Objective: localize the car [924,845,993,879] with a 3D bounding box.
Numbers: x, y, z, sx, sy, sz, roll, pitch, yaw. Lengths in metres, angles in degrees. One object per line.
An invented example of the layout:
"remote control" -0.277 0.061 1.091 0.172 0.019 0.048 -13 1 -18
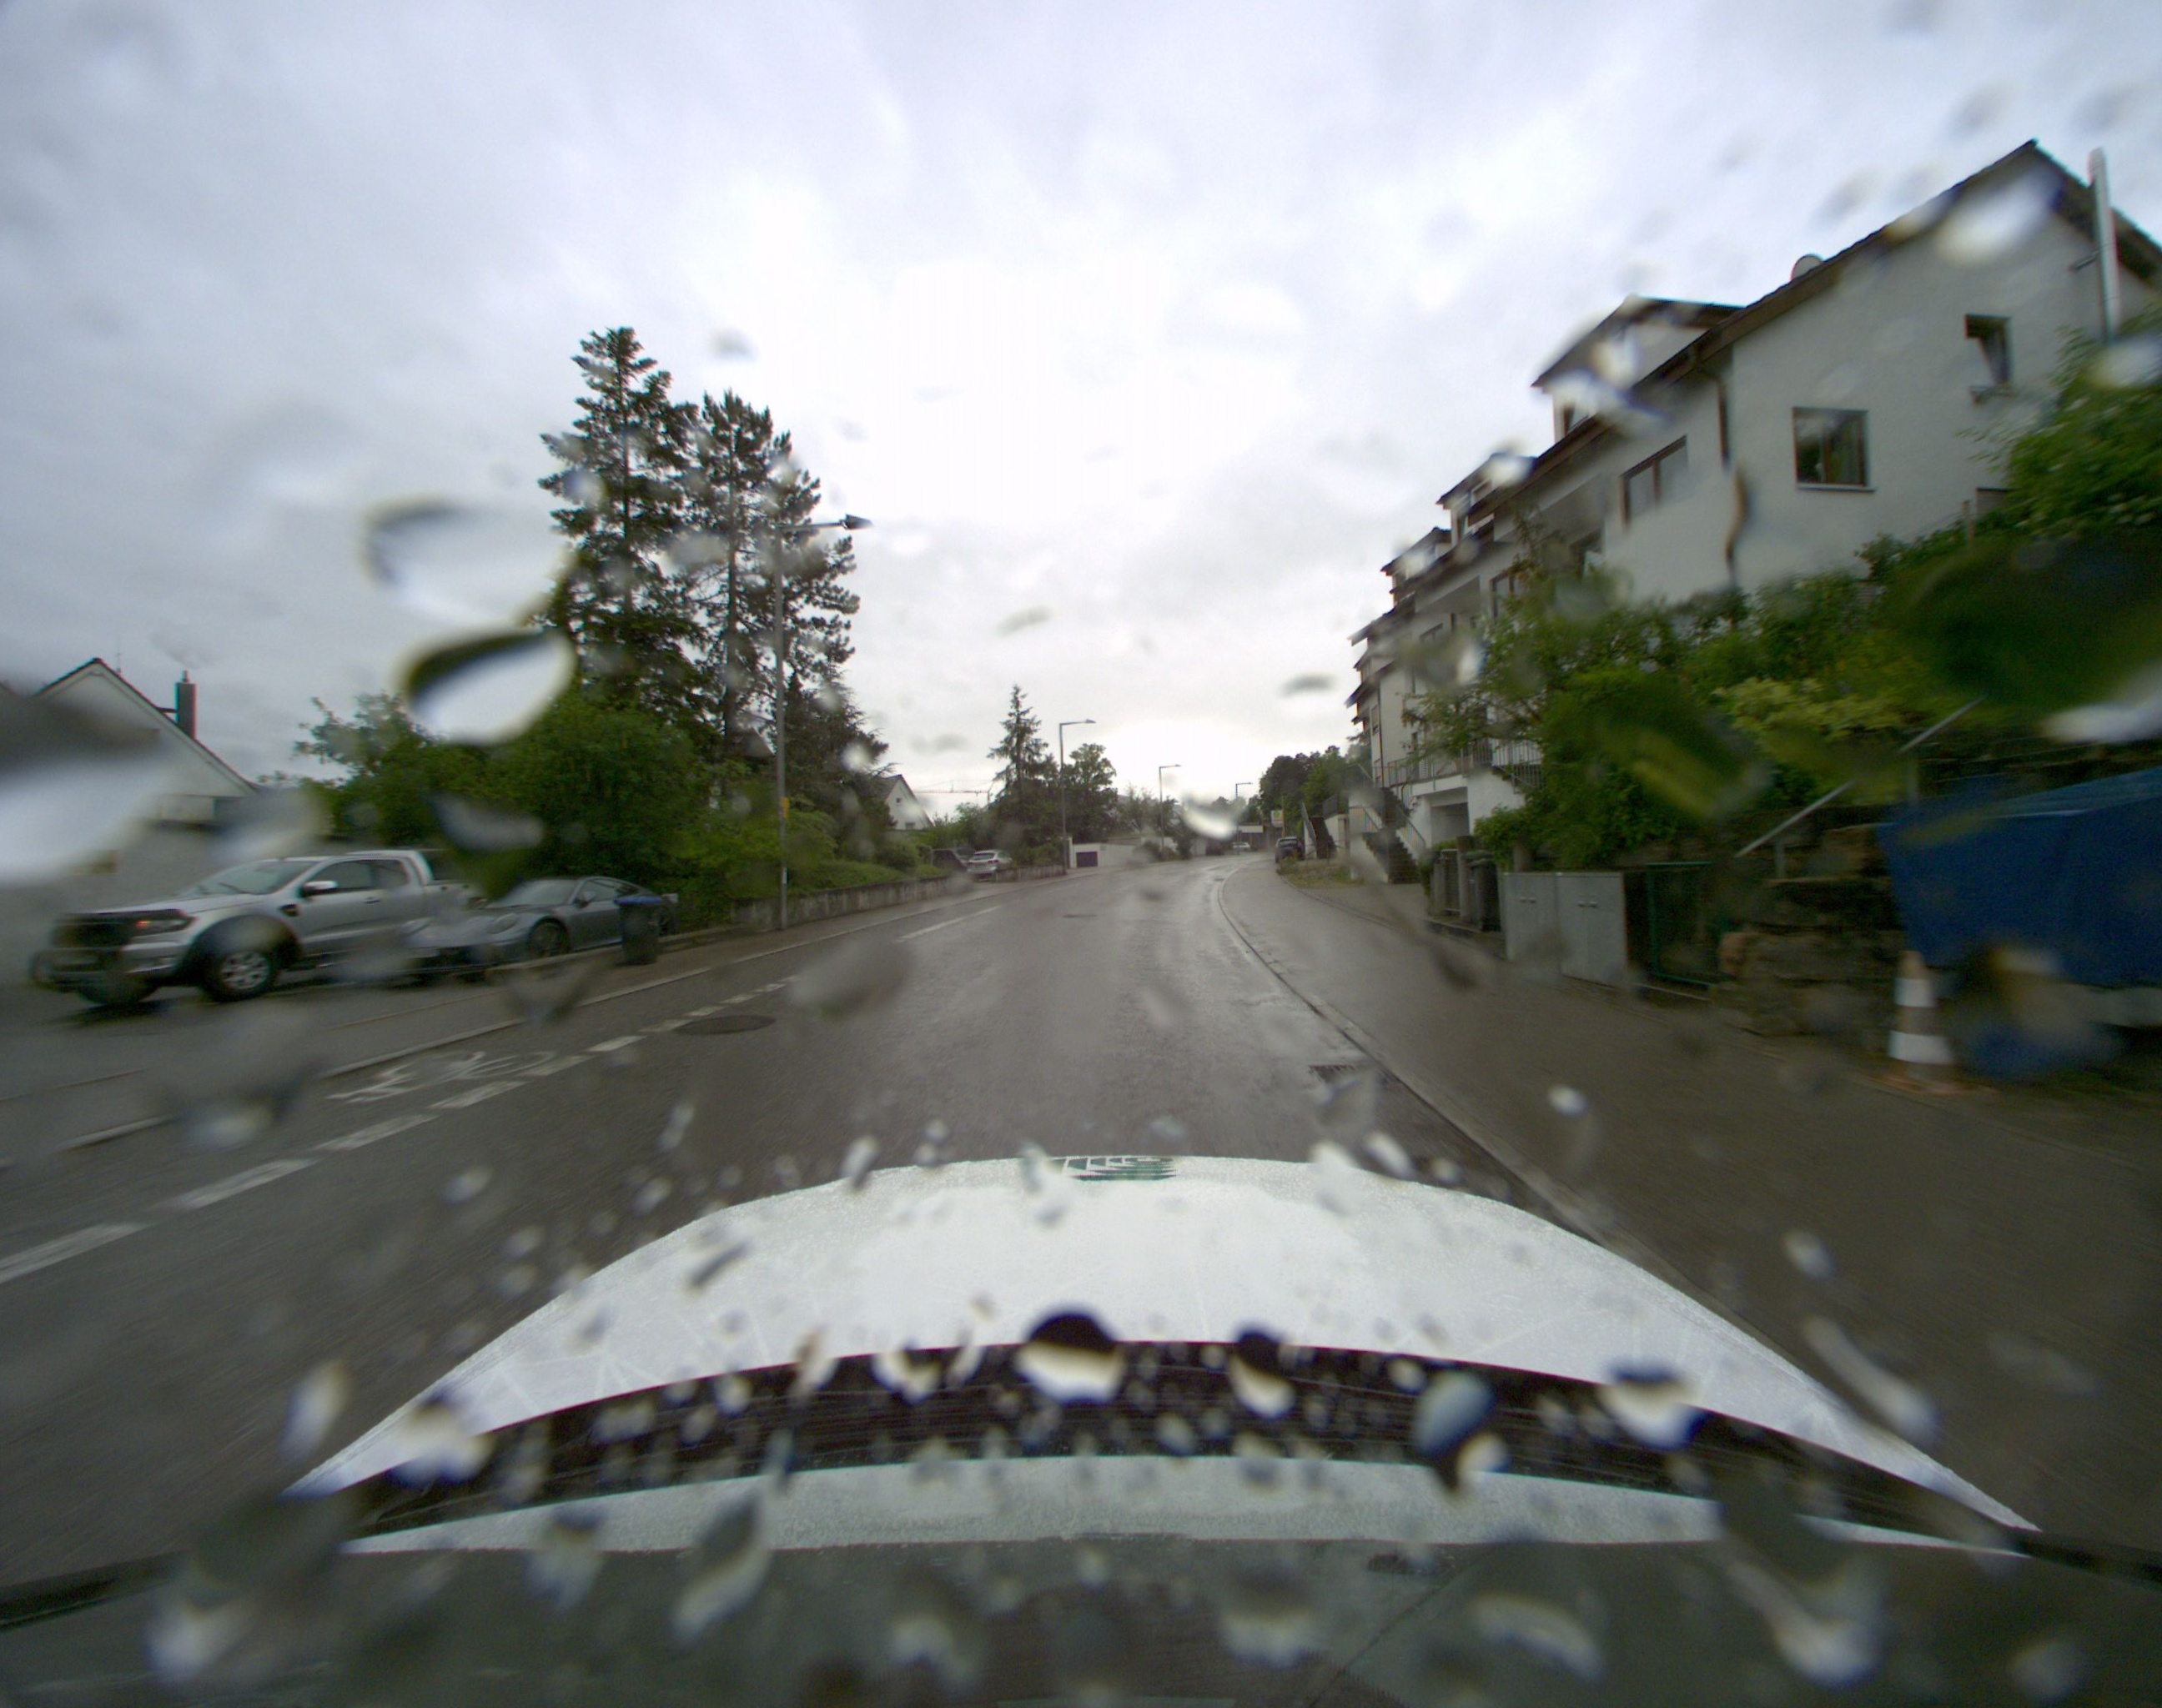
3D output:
"car" -7.172 0.496 47.548 2.012 1.838 3.950 -2 0 -44

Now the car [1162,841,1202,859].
"car" 9.811 -0.405 78.864 1.688 1.553 4.417 -2 1 39

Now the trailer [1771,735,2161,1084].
"trailer" 6.342 0.244 5.082 2.345 1.748 2.001 -2 0 2

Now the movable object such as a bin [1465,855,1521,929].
"movable object such as a bin" 5.361 0.485 10.606 0.489 0.923 0.458 -2 0 5

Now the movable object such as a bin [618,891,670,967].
"movable object such as a bin" -6.132 1.040 11.437 0.369 0.988 0.559 -2 0 3

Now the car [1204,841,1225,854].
"car" 14.994 -0.727 91.576 1.820 1.405 4.278 -2 1 16

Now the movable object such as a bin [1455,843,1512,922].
"movable object such as a bin" 5.557 0.379 11.265 0.489 1.046 0.577 -2 0 6

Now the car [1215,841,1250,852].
"car" 21.010 -1.007 112.824 4.526 1.442 1.752 -1 0 -15

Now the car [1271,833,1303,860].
"car" 12.655 -0.483 49.942 1.692 1.454 4.038 -5 0 15

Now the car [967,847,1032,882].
"car" -4.001 0.482 40.566 1.721 1.551 4.019 -3 0 18

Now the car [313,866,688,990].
"car" -7.984 0.919 11.890 1.984 1.307 4.440 -3 0 5

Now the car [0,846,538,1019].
"car" -10.800 0.854 11.619 1.984 1.844 5.487 -2 0 6
